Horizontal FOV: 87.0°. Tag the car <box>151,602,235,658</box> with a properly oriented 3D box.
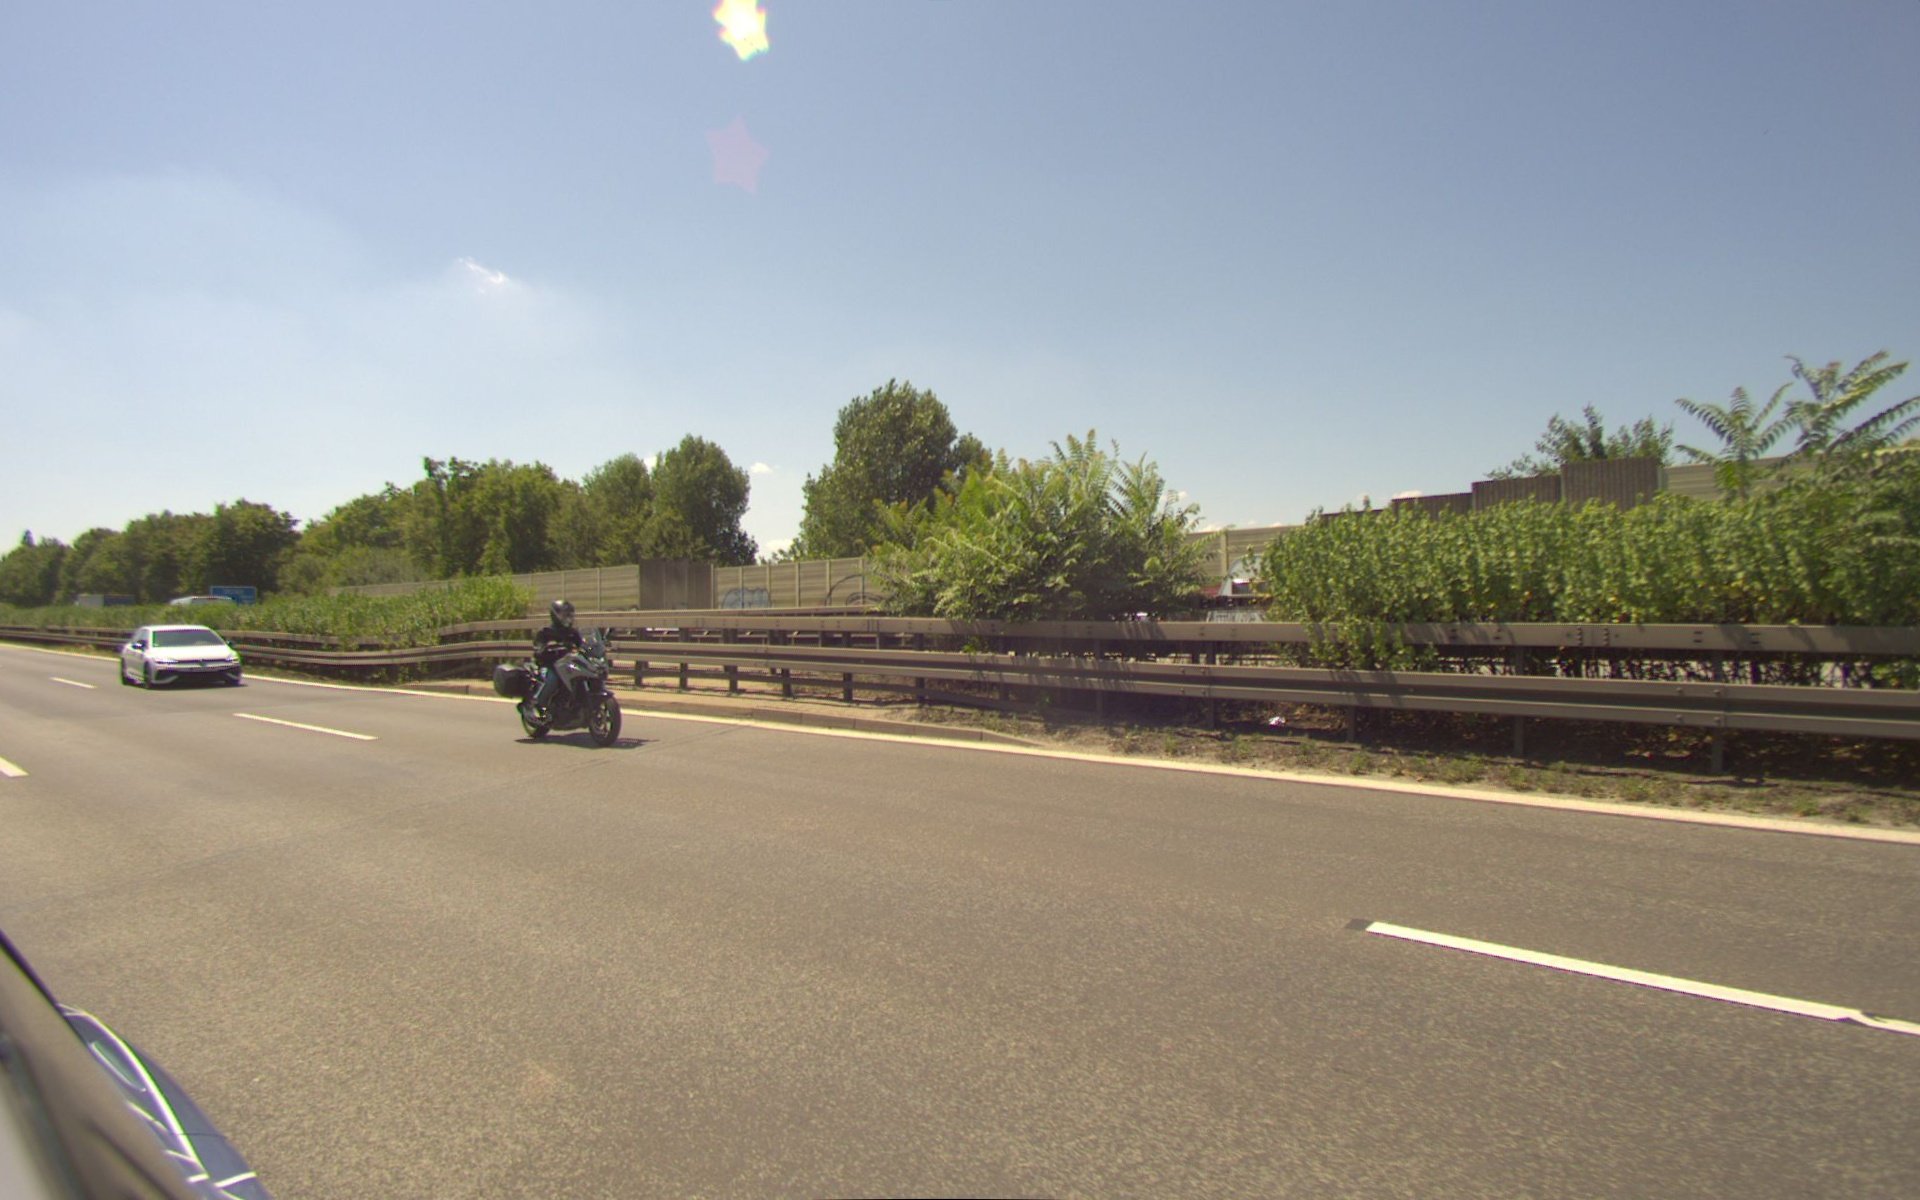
[{"bbox_3d":[-40.634,1.579,53.550,6.214,2.779,2.218,-2,-1,40],"label":"car"}]

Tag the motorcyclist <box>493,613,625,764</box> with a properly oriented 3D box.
[{"bbox_3d":[-4.619,0.973,11.644,1.298,1.609,0.884,-2,-1,40],"label":"motorcyclist"}]

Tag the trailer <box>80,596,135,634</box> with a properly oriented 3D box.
[{"bbox_3d":[-89.808,1.641,106.460,13.670,3.882,2.677,-2,-1,42],"label":"trailer"}]

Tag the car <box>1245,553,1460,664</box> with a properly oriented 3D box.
[{"bbox_3d":[8.803,0.212,22.897,4.117,2.276,1.855,-2,-1,41],"label":"car"}]

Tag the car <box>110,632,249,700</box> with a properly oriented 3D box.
[{"bbox_3d":[-18.857,1.525,24.379,4.666,1.451,1.763,-2,-1,41],"label":"car"}]

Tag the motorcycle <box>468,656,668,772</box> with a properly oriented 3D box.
[{"bbox_3d":[-4.541,1.231,11.573,2.848,1.097,0.903,-2,-1,41],"label":"motorcycle"}]
